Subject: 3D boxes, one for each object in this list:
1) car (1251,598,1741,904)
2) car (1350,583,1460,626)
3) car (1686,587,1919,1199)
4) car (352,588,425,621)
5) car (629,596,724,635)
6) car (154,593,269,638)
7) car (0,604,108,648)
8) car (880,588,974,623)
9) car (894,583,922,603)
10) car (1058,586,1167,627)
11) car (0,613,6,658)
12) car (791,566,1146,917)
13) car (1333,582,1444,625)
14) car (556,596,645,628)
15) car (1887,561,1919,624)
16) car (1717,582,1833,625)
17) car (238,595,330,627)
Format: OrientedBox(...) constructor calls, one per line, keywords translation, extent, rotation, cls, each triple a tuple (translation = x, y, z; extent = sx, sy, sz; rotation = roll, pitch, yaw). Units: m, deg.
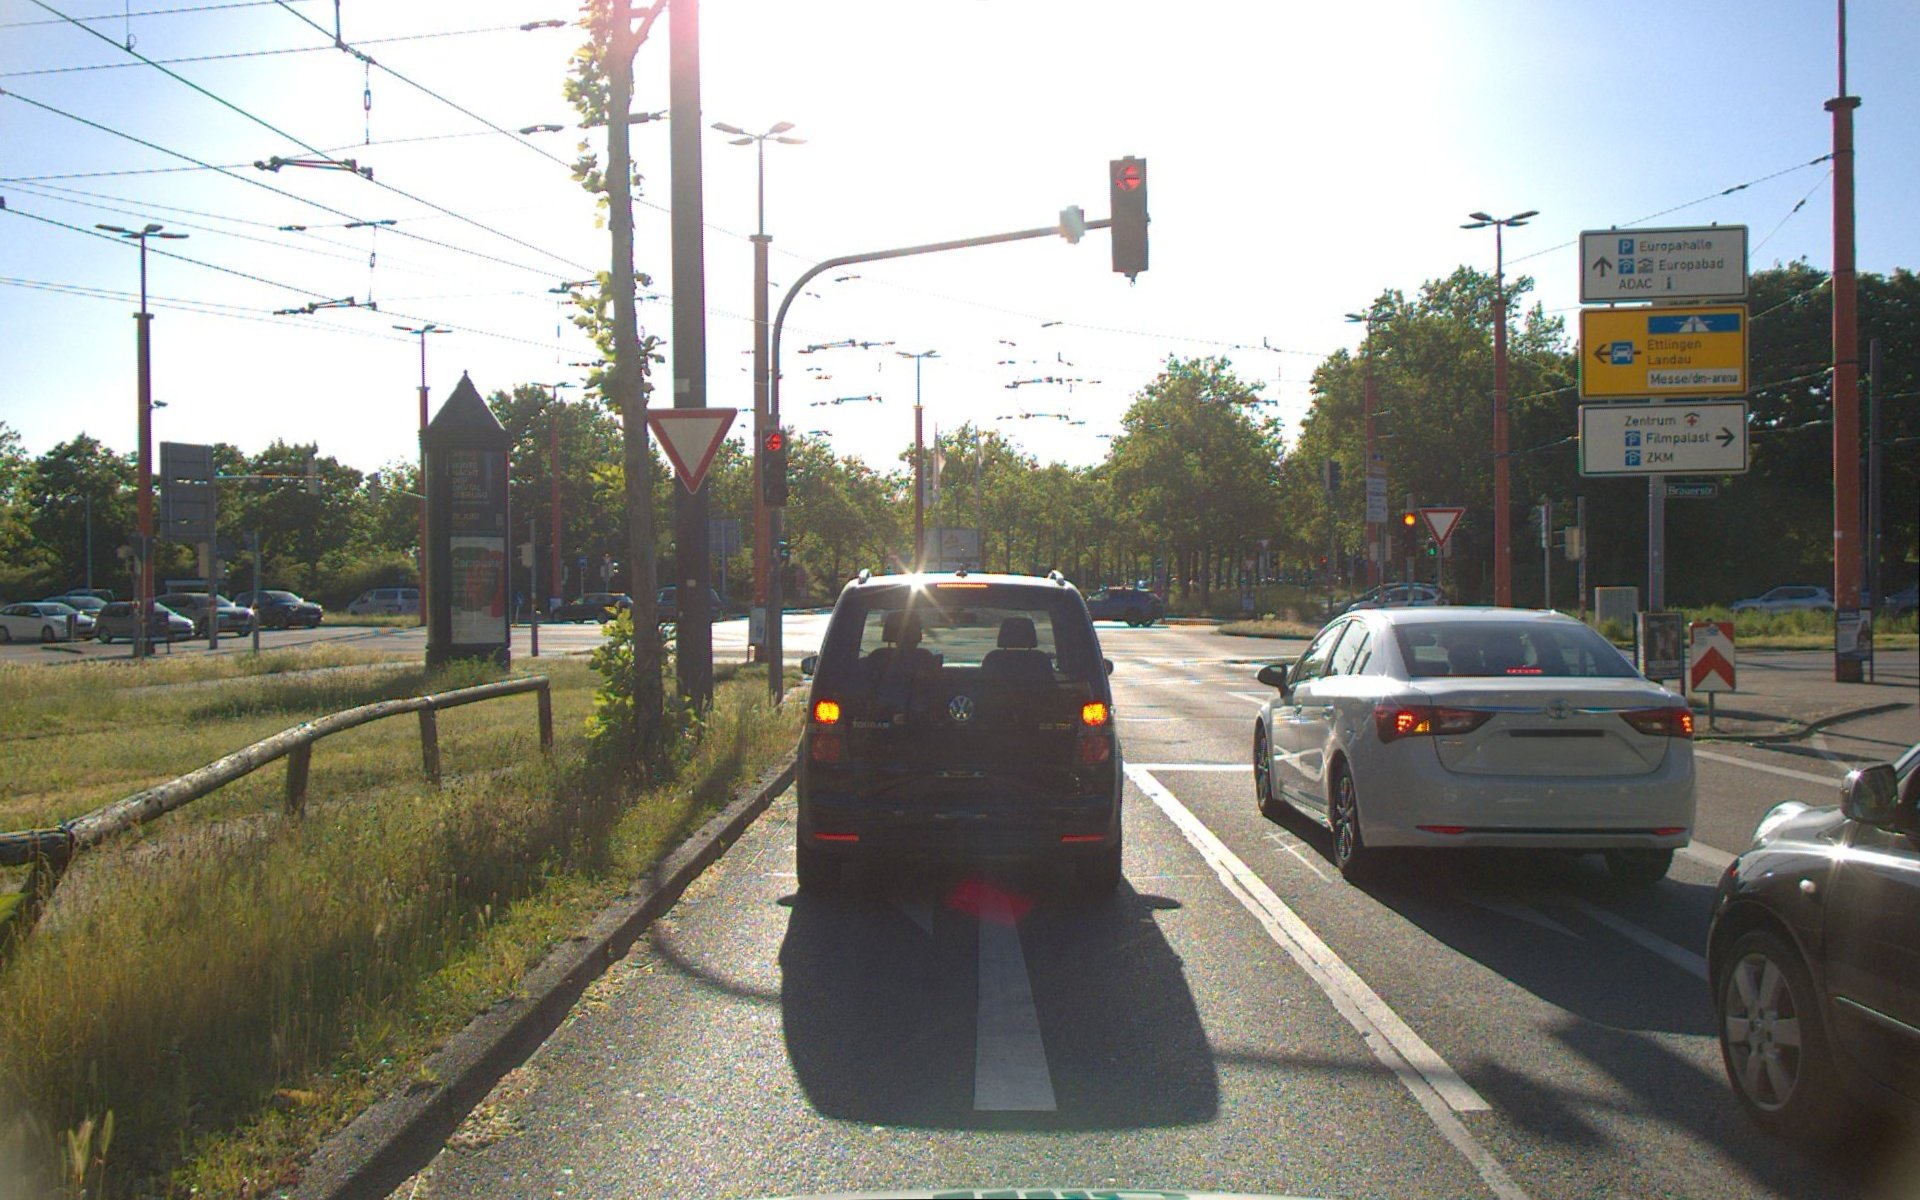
OrientedBox(translation=(2.975, 0.730, 10.142), extent=(1.685, 1.463, 4.198), rotation=(1, 0, 1), cls="car")
OrientedBox(translation=(16.697, 0.161, 62.084), extent=(3.744, 1.549, 1.694), rotation=(0, 0, 26), cls="car")
OrientedBox(translation=(3.183, 0.746, 3.573), extent=(1.620, 1.526, 3.614), rotation=(1, 0, 0), cls="car")
OrientedBox(translation=(-30.789, 0.246, 89.098), extent=(3.570, 1.684, 1.679), rotation=(1, 0, 25), cls="car")
OrientedBox(translation=(-13.150, 0.714, 76.752), extent=(4.097, 1.673, 1.758), rotation=(1, 0, 26), cls="car")
OrientedBox(translation=(-28.986, 0.575, 64.088), extent=(3.907, 1.673, 1.999), rotation=(0, 0, 24), cls="car")
OrientedBox(translation=(-34.733, 0.972, 63.078), extent=(4.091, 1.640, 1.867), rotation=(0, 0, 25), cls="car")
OrientedBox(translation=(-1.512, 0.243, 74.870), extent=(3.884, 1.466, 1.686), rotation=(1, 0, 24), cls="car")
OrientedBox(translation=(-4.506, -0.561, 144.136), extent=(1.874, 1.664, 4.003), rotation=(1, 0, 6), cls="car")
OrientedBox(translation=(6.220, 0.276, 67.357), extent=(4.039, 1.626, 1.827), rotation=(0, 0, 27), cls="car")
OrientedBox(translation=(-31.644, 1.139, 53.045), extent=(1.779, 1.415, 2.821), rotation=(0, 0, -30), cls="car")
OrientedBox(translation=(0.007, 0.667, 9.809), extent=(1.666, 1.650, 3.896), rotation=(1, 0, -1), cls="car")
OrientedBox(translation=(17.115, 0.151, 66.110), extent=(4.039, 1.672, 1.851), rotation=(0, 0, 26), cls="car")
OrientedBox(translation=(-18.018, 0.603, 82.889), extent=(4.040, 1.537, 1.821), rotation=(1, 0, 26), cls="car")
OrientedBox(translation=(32.811, -0.250, 53.899), extent=(4.483, 2.049, 1.997), rotation=(0, 0, 28), cls="car")
OrientedBox(translation=(29.146, 0.114, 59.212), extent=(3.662, 1.499, 1.599), rotation=(0, 0, 26), cls="car")
OrientedBox(translation=(-29.273, 0.476, 71.597), extent=(3.913, 1.353, 1.694), rotation=(0, 0, 31), cls="car")
